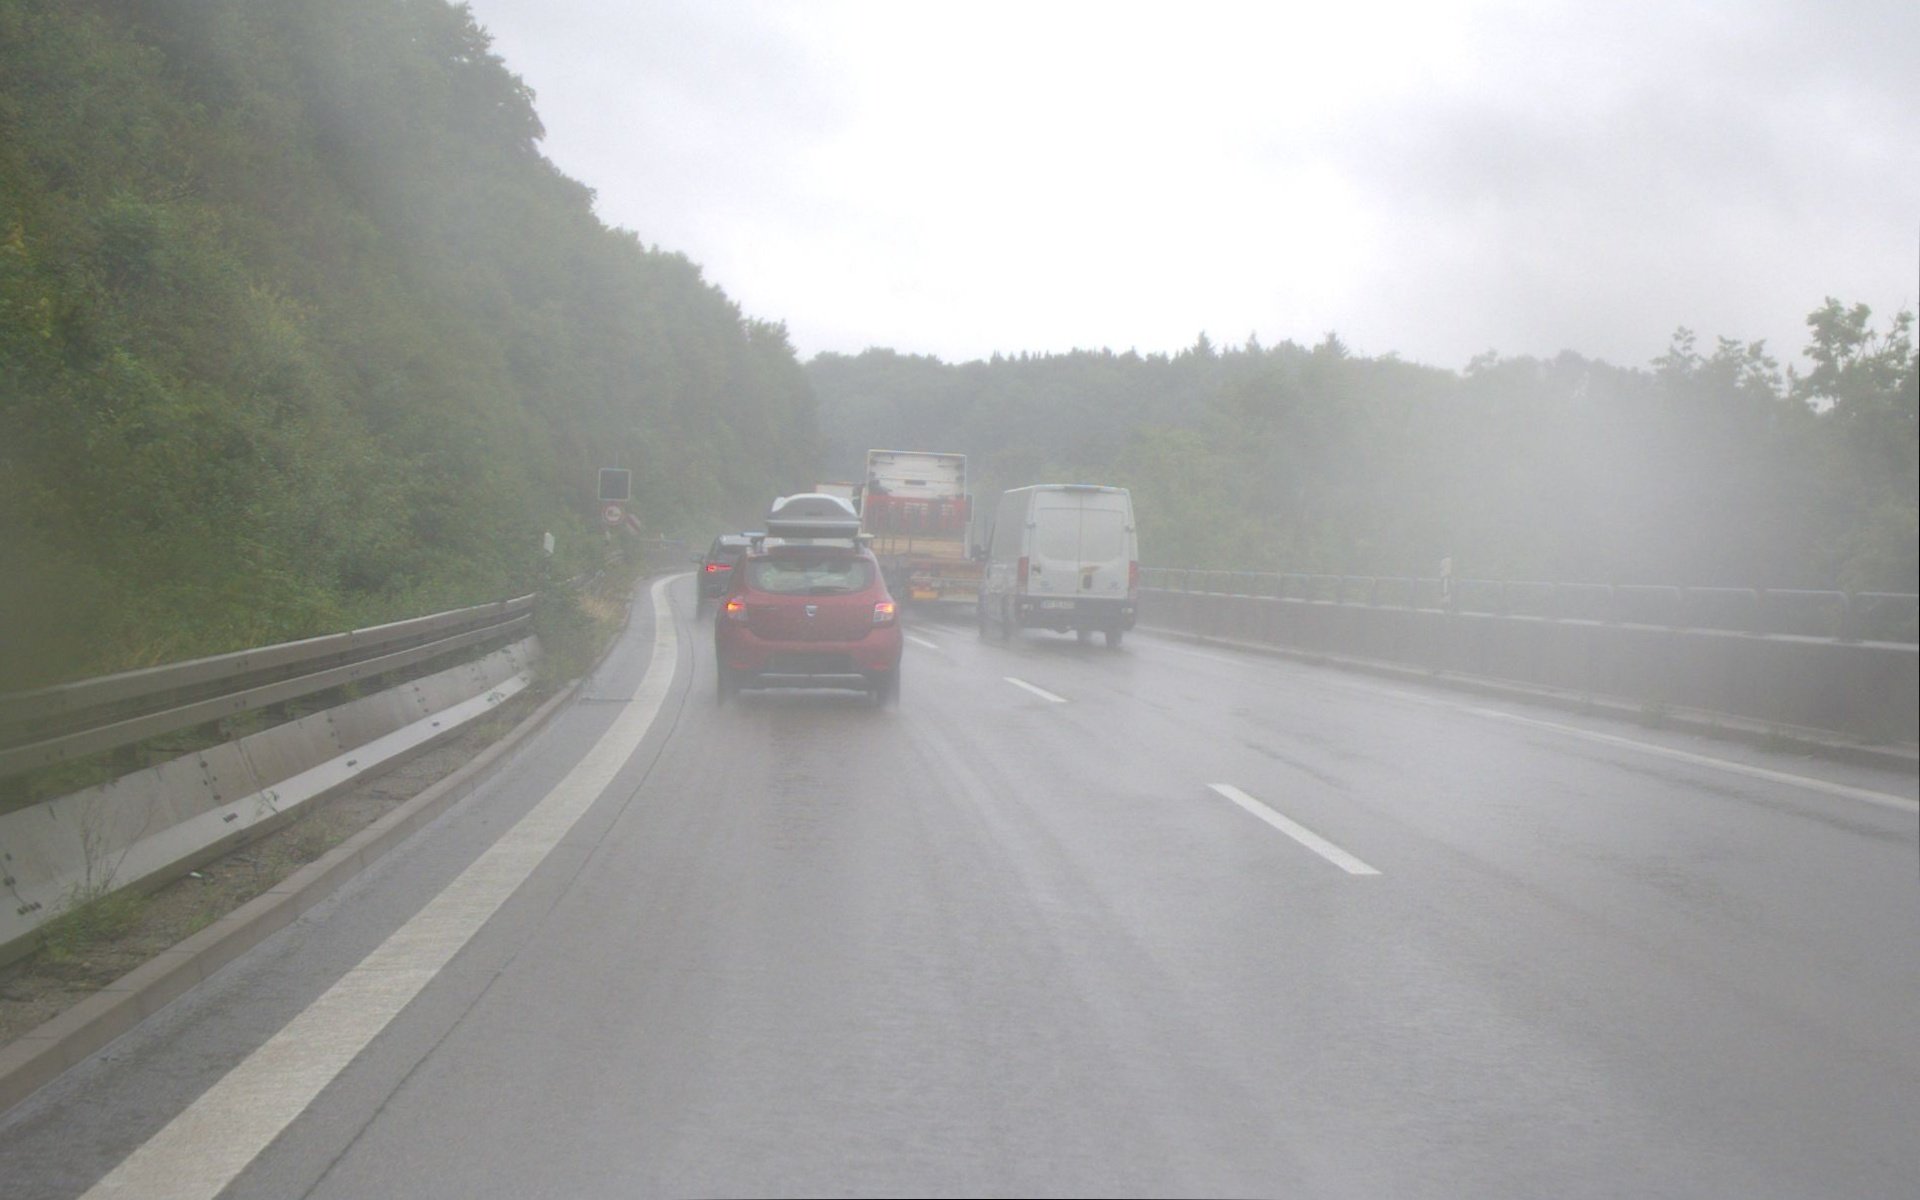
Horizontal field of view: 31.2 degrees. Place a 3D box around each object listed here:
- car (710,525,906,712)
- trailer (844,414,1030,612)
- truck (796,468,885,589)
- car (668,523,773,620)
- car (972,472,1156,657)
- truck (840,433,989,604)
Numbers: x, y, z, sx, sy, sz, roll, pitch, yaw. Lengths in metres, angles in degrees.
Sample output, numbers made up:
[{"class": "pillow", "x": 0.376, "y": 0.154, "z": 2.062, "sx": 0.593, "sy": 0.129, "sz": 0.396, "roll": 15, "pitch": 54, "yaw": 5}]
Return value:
[{"class": "car", "x": -1.489, "y": 0.154, "z": 33.113, "sx": 1.758, "sy": 1.679, "sz": 4.000, "roll": 1, "pitch": 0, "yaw": -3}, {"class": "trailer", "x": -0.711, "y": -1.906, "z": 78.707, "sx": 3.218, "sy": 3.985, "sz": 13.526, "roll": 3, "pitch": 1, "yaw": -4}, {"class": "truck", "x": -4.829, "y": -2.802, "z": 137.705, "sx": 3.222, "sy": 4.666, "sz": 8.301, "roll": 1, "pitch": 0, "yaw": -4}, {"class": "car", "x": -4.372, "y": -0.537, "z": 63.229, "sx": 1.823, "sy": 1.690, "sz": 4.001, "roll": 1, "pitch": 1, "yaw": -3}, {"class": "car", "x": 1.664, "y": -0.618, "z": 58.074, "sx": 2.206, "sy": 2.784, "sz": 7.383, "roll": 4, "pitch": 1, "yaw": -4}, {"class": "truck", "x": -1.200, "y": -2.000, "z": 85.723, "sx": 3.219, "sy": 3.964, "sz": 5.439, "roll": 3, "pitch": 0, "yaw": -4}]
